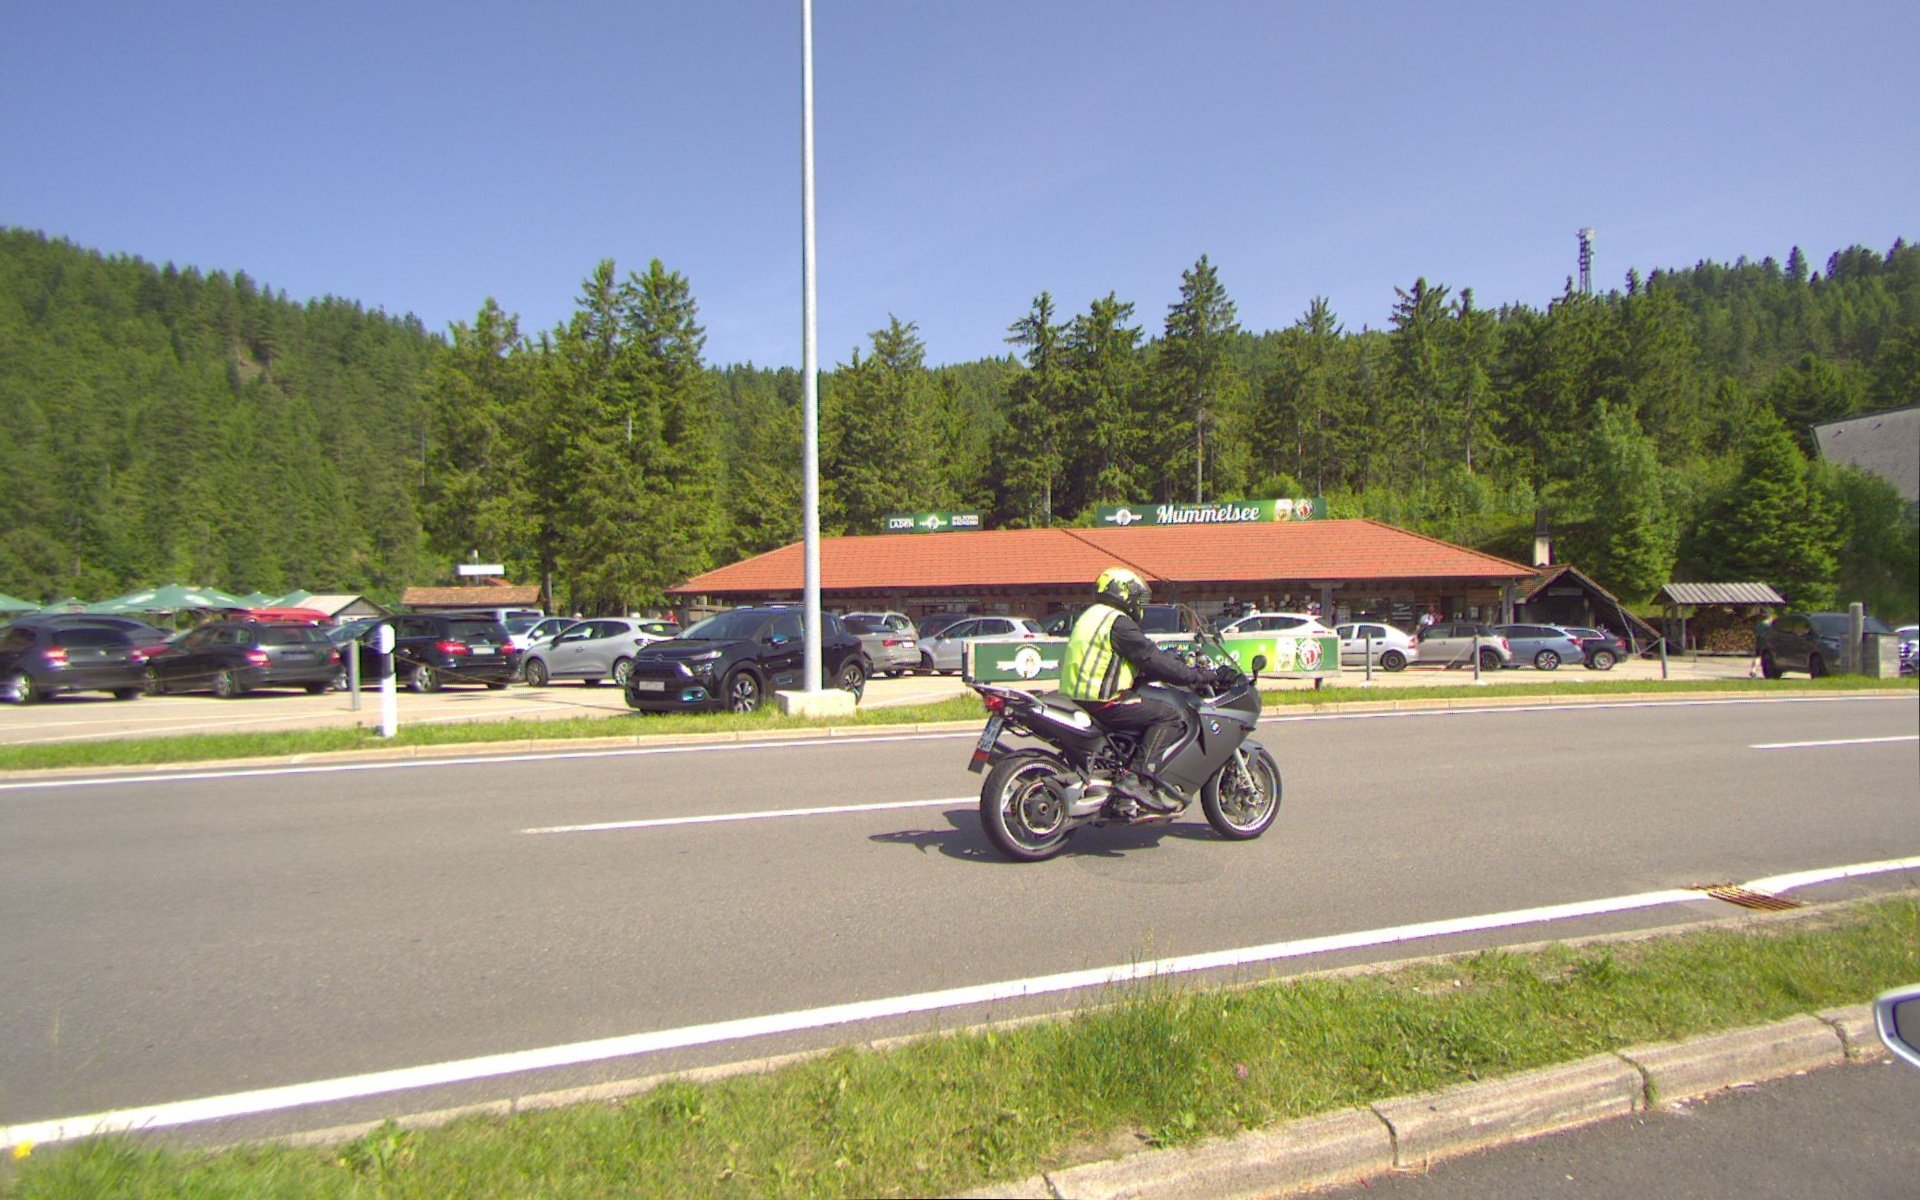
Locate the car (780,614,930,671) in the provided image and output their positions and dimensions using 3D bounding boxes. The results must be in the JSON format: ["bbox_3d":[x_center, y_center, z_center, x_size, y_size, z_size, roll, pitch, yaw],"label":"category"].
[{"bbox_3d":[-3.083,1.263,29.691,3.923,1.595,1.999,-2,-2,22],"label":"car"}]

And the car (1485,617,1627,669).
[{"bbox_3d":[19.995,1.450,33.915,3.926,1.639,1.998,-2,-1,27],"label":"car"}]

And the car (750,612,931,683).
[{"bbox_3d":[-2.869,1.117,24.105,3.926,1.565,1.897,-2,-1,26],"label":"car"}]

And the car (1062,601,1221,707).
[{"bbox_3d":[3.223,0.832,17.216,1.707,1.588,4.056,0,-1,25],"label":"car"}]

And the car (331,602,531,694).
[{"bbox_3d":[-10.857,0.957,20.572,3.929,1.726,1.822,-2,-1,30],"label":"car"}]

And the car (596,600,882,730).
[{"bbox_3d":[-2.972,0.821,14.339,1.751,1.572,3.992,-1,-1,30],"label":"car"}]

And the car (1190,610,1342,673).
[{"bbox_3d":[8.754,1.200,28.748,3.954,1.694,1.776,-2,-3,24],"label":"car"}]

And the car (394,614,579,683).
[{"bbox_3d":[-11.630,1.187,24.712,3.923,1.572,1.999,-2,-2,22],"label":"car"}]

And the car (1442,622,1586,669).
[{"bbox_3d":[17.606,1.466,32.133,3.925,1.438,1.683,-2,-3,26],"label":"car"}]

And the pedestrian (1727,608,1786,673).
[{"bbox_3d":[21.948,1.105,27.677,0.946,1.757,0.895,-1,-1,-21],"label":"pedestrian"}]

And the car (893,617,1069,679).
[{"bbox_3d":[0.529,1.171,24.965,3.925,1.439,1.906,-2,-2,25],"label":"car"}]

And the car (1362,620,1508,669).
[{"bbox_3d":[14.566,1.384,30.944,3.925,1.438,1.683,-2,-3,26],"label":"car"}]

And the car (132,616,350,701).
[{"bbox_3d":[-14.033,1.113,19.586,4.003,1.505,1.715,-2,-1,25],"label":"car"}]

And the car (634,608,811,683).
[{"bbox_3d":[-5.458,1.042,23.098,3.662,1.609,1.734,-2,-1,25],"label":"car"}]

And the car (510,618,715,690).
[{"bbox_3d":[-7.358,1.126,21.261,3.925,1.389,1.811,-2,-1,25],"label":"car"}]

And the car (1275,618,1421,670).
[{"bbox_3d":[11.566,1.330,30.016,3.949,1.487,1.776,-2,-3,24],"label":"car"}]

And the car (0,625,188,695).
[{"bbox_3d":[-20.171,1.354,23.256,3.923,1.502,1.935,-2,-2,22],"label":"car"}]

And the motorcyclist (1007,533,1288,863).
[{"bbox_3d":[1.066,0.518,5.896,1.274,1.697,1.024,0,-1,-22],"label":"motorcyclist"}]

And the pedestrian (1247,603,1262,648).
[{"bbox_3d":[12.520,1.080,42.664,0.518,1.899,0.547,1,0,23],"label":"pedestrian"}]

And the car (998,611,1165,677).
[{"bbox_3d":[3.182,1.144,26.271,3.925,1.595,1.998,-2,-2,25],"label":"car"}]

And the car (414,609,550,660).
[{"bbox_3d":[-15.493,1.106,32.571,3.806,1.550,1.910,-2,-1,22],"label":"car"}]

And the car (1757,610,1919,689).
[{"bbox_3d":[20.817,1.112,23.772,1.754,1.655,4.211,1,-1,19],"label":"car"}]

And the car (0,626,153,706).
[{"bbox_3d":[-16.789,1.183,18.425,3.569,1.339,1.587,-2,-1,23],"label":"car"}]

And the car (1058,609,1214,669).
[{"bbox_3d":[4.942,1.099,28.238,3.925,1.595,1.998,-2,-2,25],"label":"car"}]

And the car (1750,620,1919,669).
[{"bbox_3d":[29.096,1.478,33.541,3.921,1.514,1.684,-1,1,20],"label":"car"}]

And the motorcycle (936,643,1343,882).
[{"bbox_3d":[1.065,0.869,5.877,2.253,1.192,0.820,2,-2,-22],"label":"motorcycle"}]
